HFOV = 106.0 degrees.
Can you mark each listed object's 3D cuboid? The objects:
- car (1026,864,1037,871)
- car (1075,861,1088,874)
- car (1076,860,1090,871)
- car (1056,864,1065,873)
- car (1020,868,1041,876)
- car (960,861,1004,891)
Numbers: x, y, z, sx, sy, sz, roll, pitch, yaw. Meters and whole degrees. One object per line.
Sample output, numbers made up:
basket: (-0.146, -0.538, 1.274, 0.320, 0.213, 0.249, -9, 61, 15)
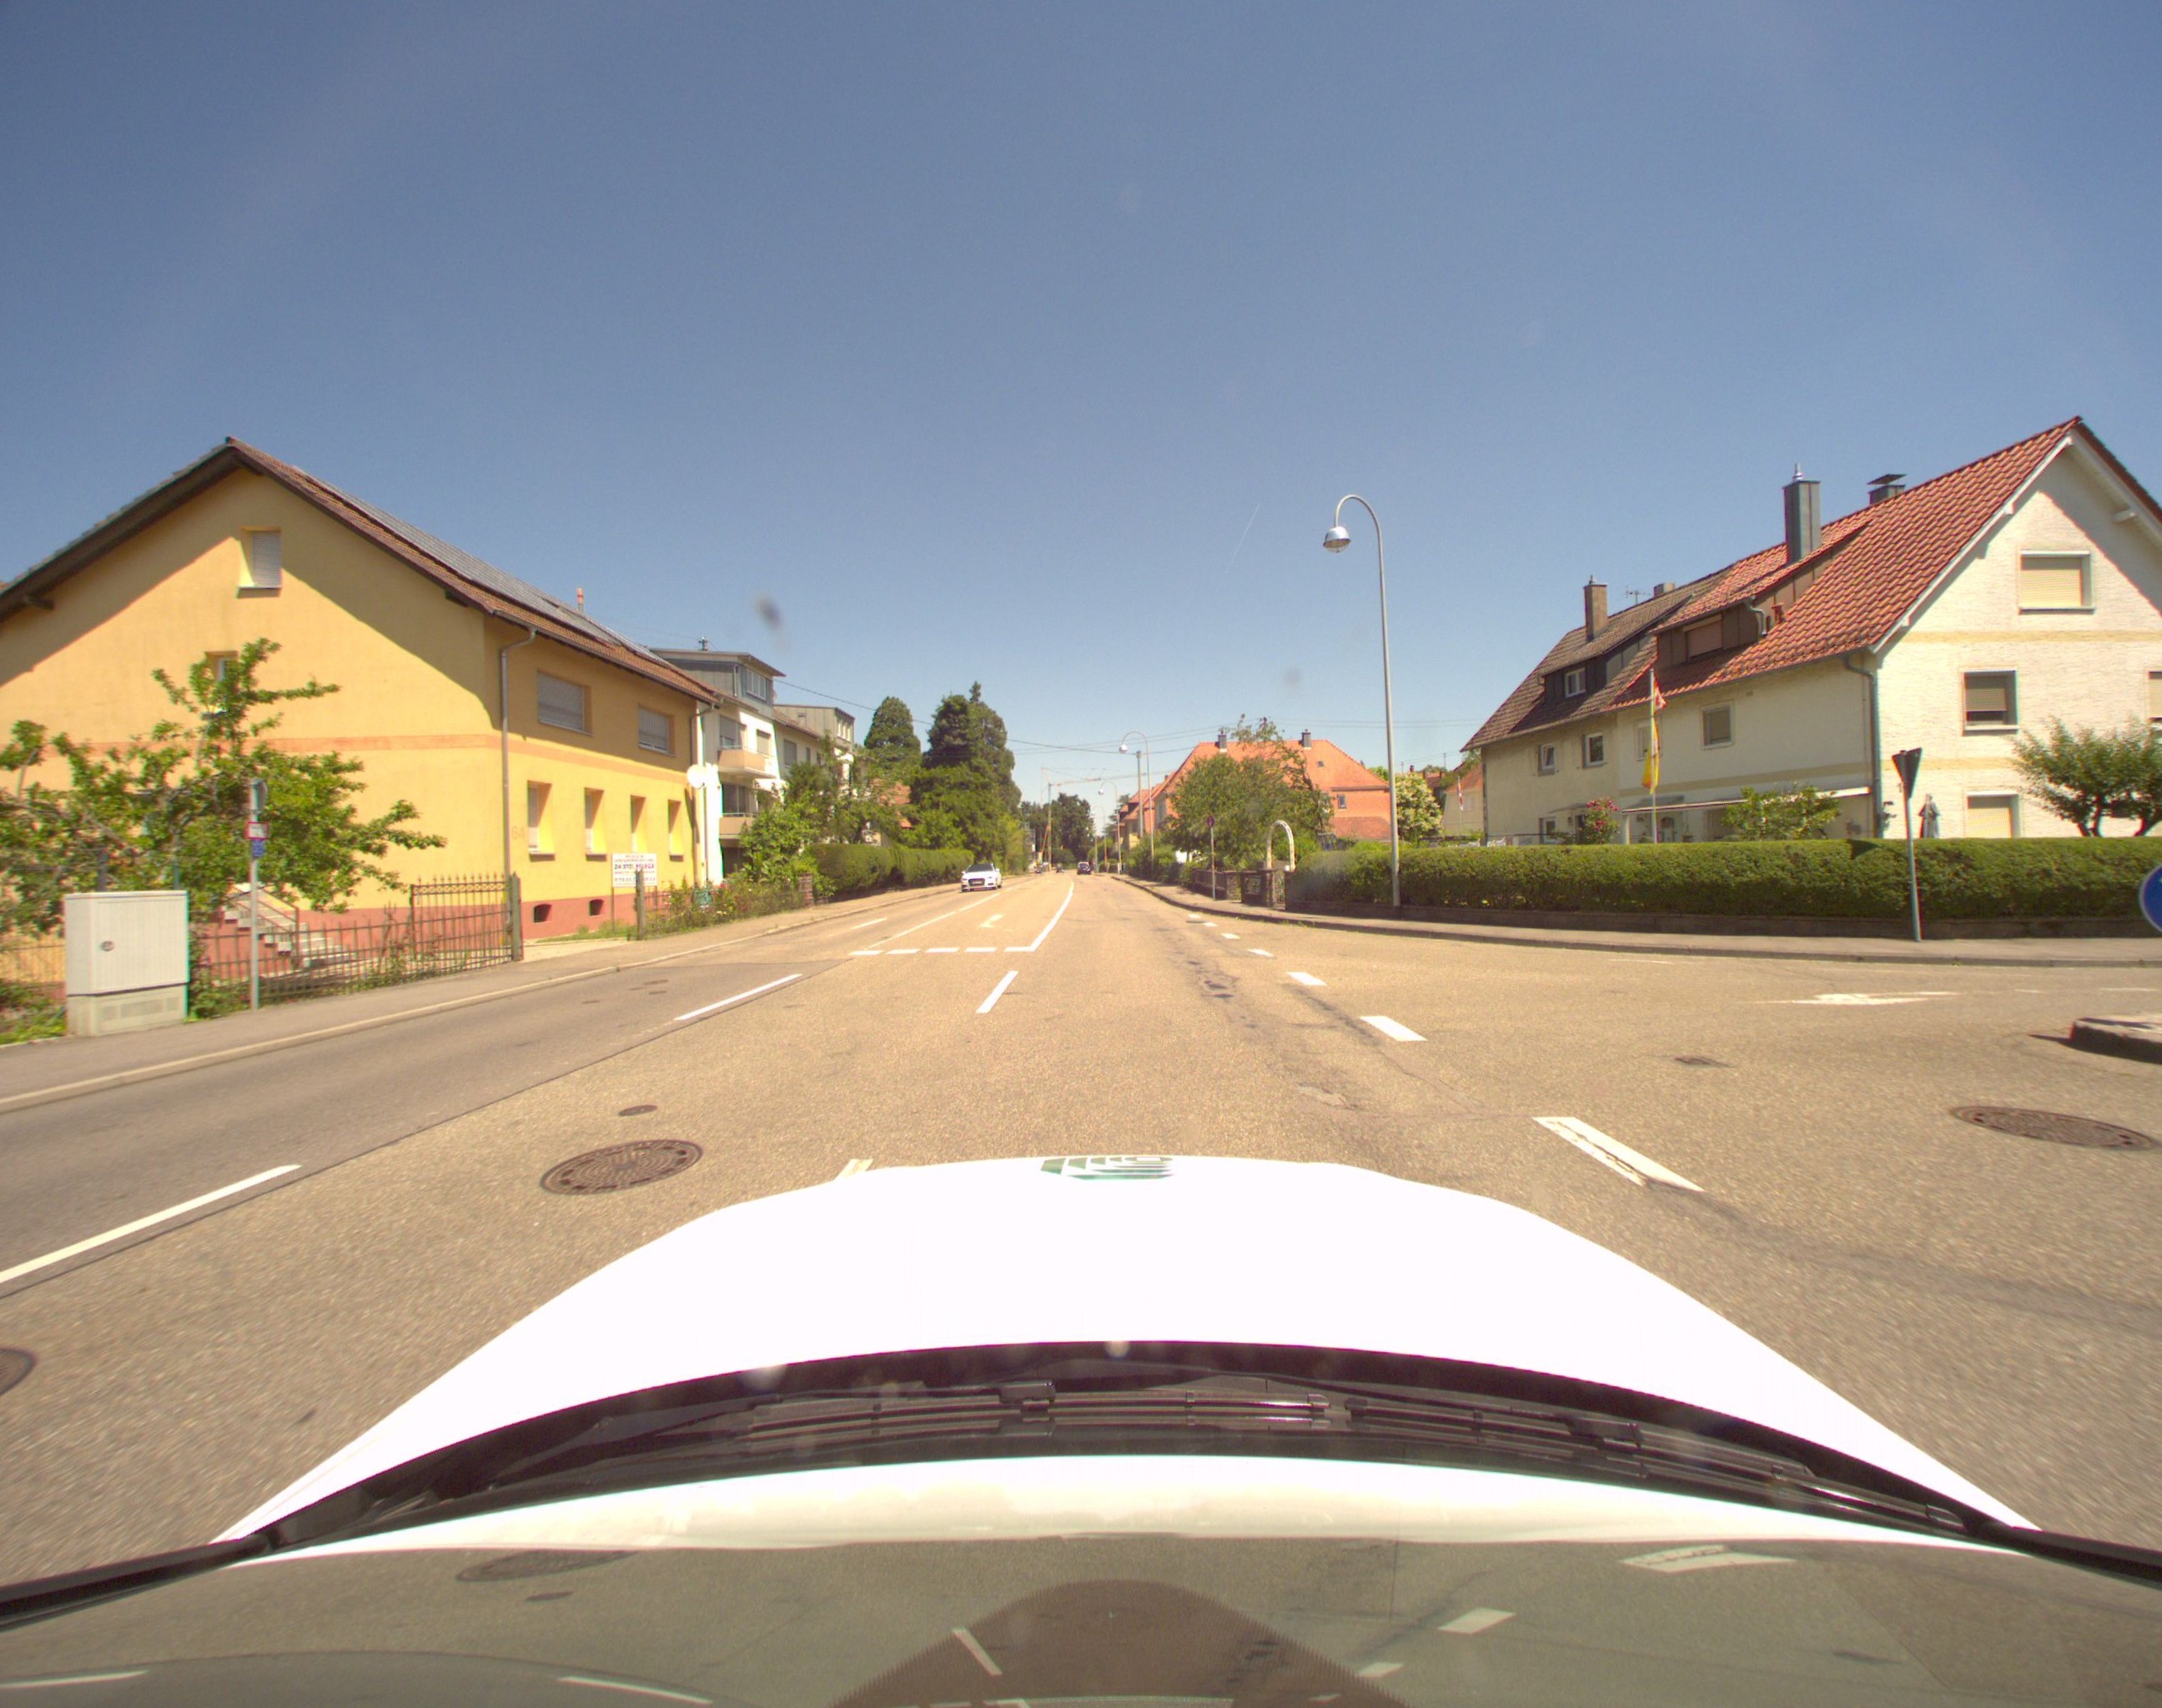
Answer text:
car: (-10.251, 2.714, 168.656, 1.652, 1.389, 3.539, -2, -1, 5)
car: (0.001, 2.188, 130.425, 1.988, 1.901, 4.820, 1, -1, -1)
car: (0.259, 1.626, 110.649, 1.688, 1.419, 4.547, -1, -2, -1)
car: (-4.890, 3.381, 193.439, 1.988, 1.850, 4.708, -1, 1, -2)
car: (-10.869, 3.938, 176.195, 3.959, 1.468, 1.972, -4, 0, 13)
car: (-5.132, 1.114, 42.646, 1.675, 1.372, 4.206, -3, 0, 1)
